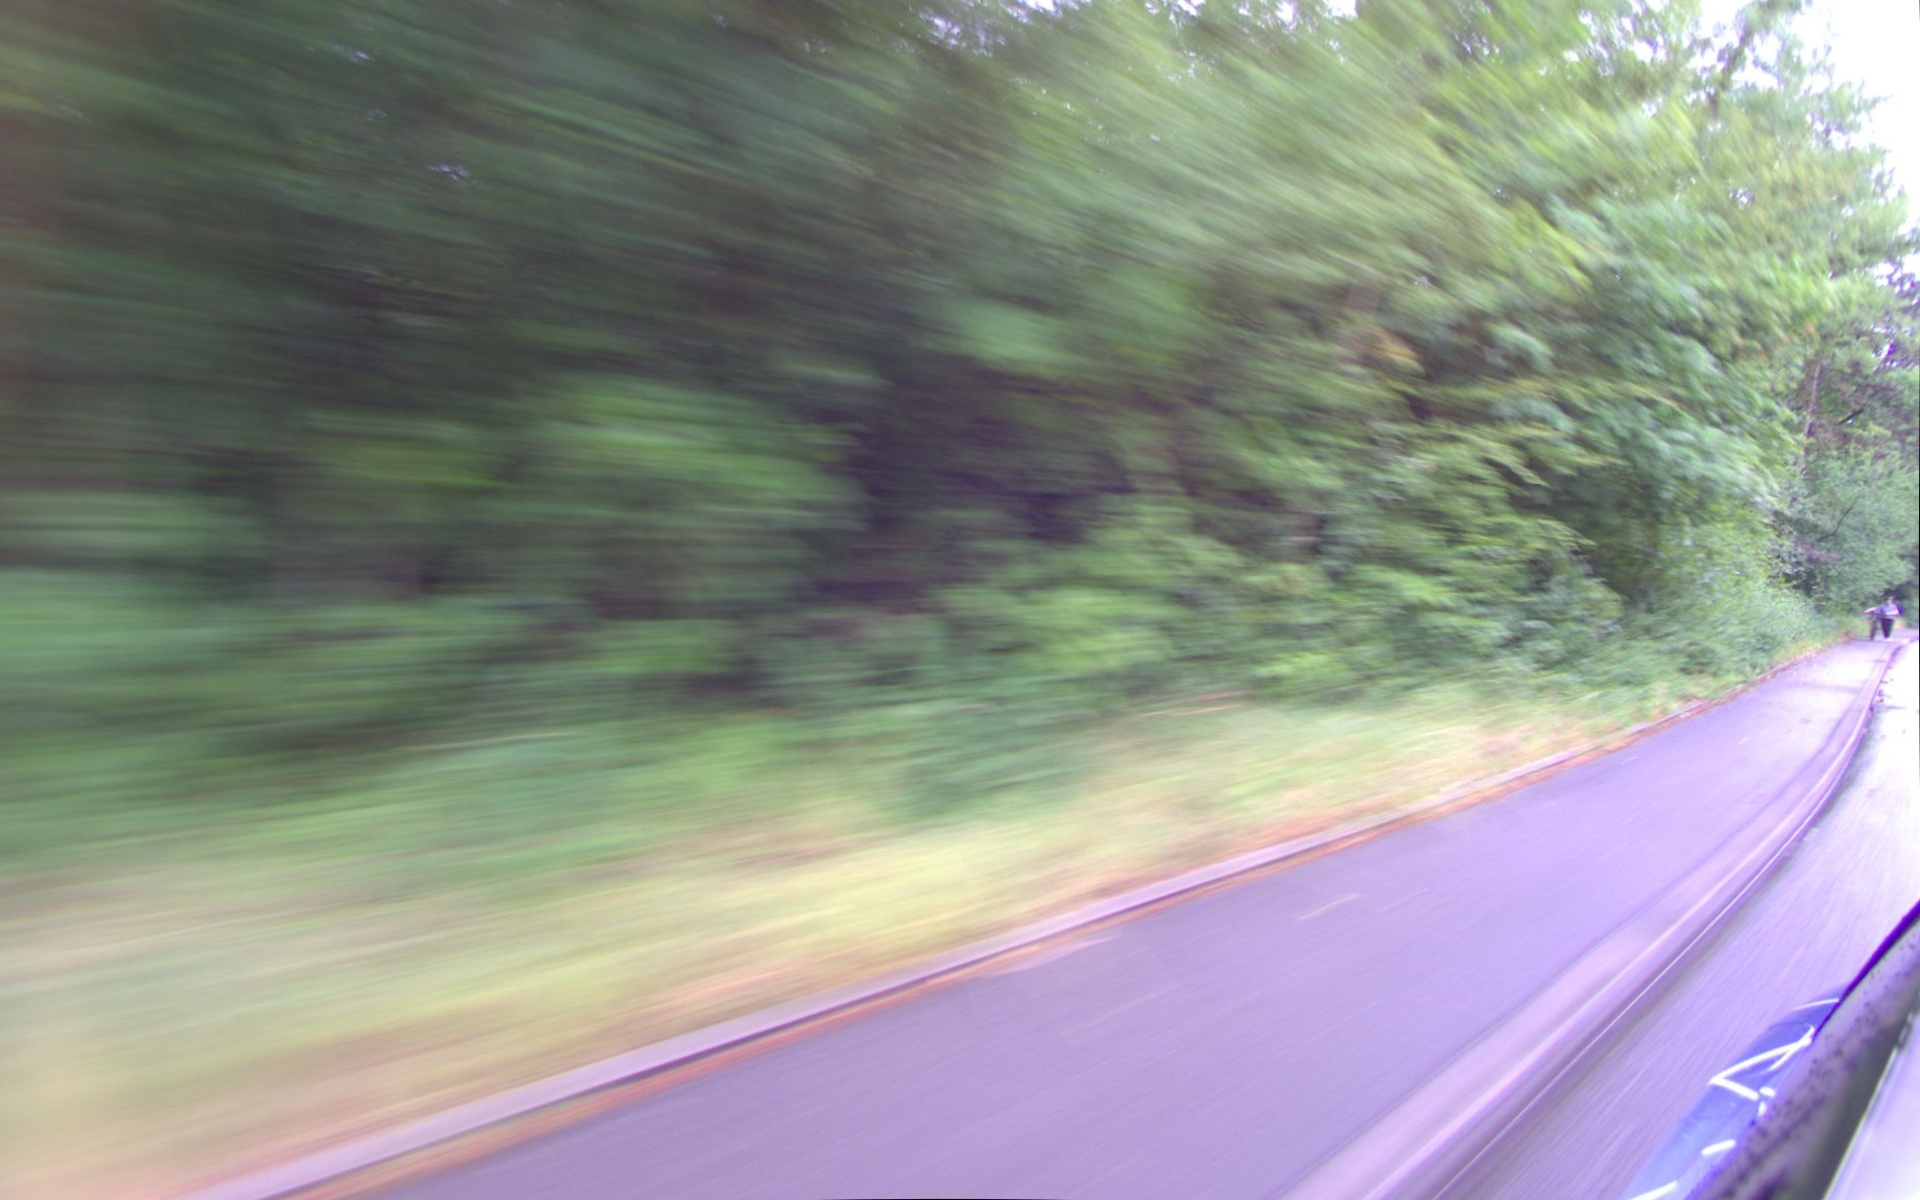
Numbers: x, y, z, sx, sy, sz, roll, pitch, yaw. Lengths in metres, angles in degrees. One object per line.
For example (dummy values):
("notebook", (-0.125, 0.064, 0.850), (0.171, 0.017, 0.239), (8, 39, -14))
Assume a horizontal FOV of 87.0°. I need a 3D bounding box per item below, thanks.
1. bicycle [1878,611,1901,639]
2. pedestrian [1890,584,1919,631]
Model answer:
("bicycle", (33.294, 0.879, 36.232), (1.713, 0.858, 0.356), (-2, 9, -43))
("pedestrian", (33.655, 0.260, 36.058), (0.757, 1.595, 0.565), (-3, 7, -42))
